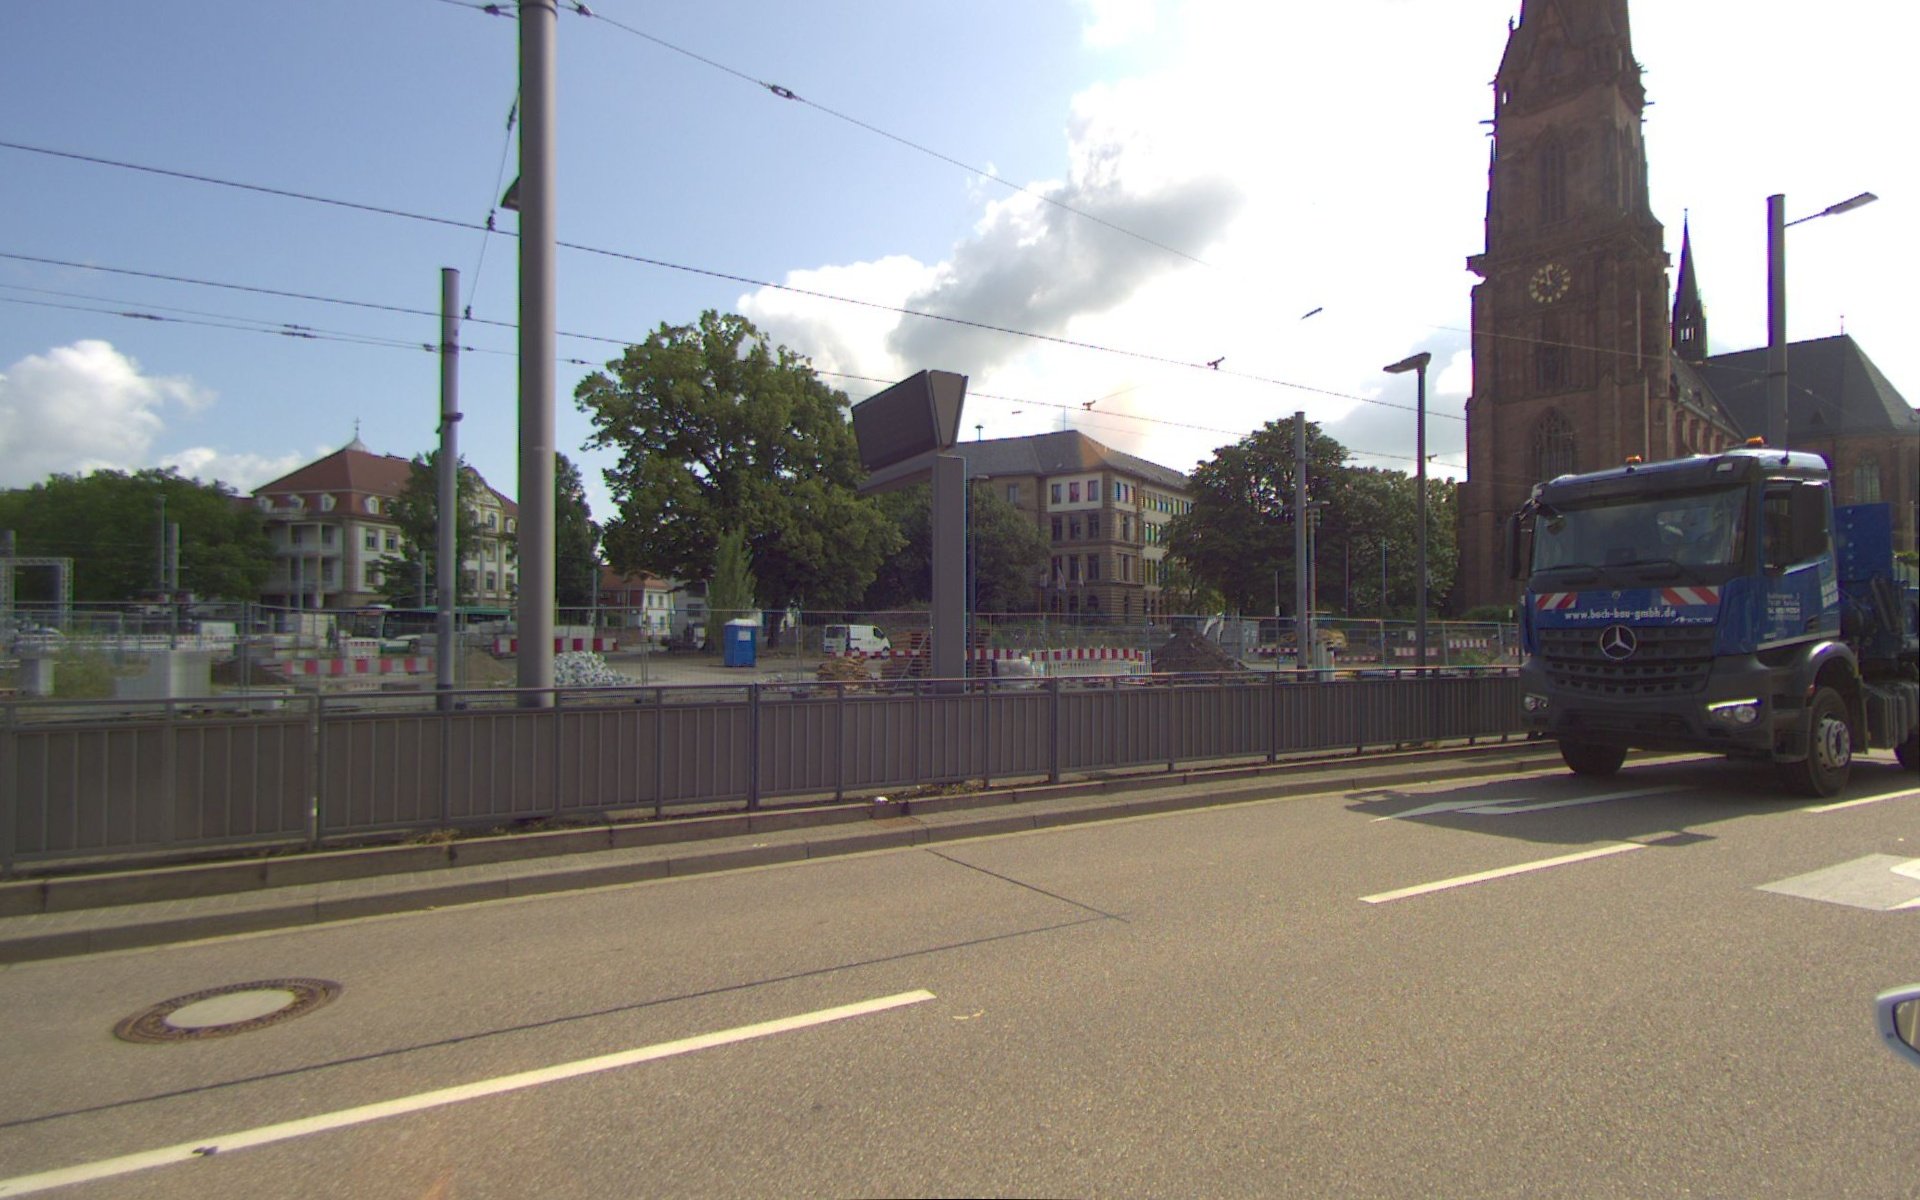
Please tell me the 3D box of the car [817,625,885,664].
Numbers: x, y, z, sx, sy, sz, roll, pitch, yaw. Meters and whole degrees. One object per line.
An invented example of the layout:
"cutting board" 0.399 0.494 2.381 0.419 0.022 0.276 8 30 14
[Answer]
"car" -6.219 2.600 57.686 1.963 2.040 3.997 2 -3 27

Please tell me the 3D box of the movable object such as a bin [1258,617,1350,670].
"movable object such as a bin" 19.308 2.382 56.570 1.976 2.839 4.882 1 -1 -29

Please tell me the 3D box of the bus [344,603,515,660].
"bus" -36.023 2.199 69.095 2.905 3.554 12.262 0 -2 14

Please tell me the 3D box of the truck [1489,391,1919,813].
"truck" 9.554 0.117 11.727 7.362 3.696 2.452 1 -2 -30

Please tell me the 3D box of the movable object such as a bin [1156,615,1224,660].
"movable object such as a bin" 12.053 1.940 52.477 1.968 2.235 4.256 0 -1 37
